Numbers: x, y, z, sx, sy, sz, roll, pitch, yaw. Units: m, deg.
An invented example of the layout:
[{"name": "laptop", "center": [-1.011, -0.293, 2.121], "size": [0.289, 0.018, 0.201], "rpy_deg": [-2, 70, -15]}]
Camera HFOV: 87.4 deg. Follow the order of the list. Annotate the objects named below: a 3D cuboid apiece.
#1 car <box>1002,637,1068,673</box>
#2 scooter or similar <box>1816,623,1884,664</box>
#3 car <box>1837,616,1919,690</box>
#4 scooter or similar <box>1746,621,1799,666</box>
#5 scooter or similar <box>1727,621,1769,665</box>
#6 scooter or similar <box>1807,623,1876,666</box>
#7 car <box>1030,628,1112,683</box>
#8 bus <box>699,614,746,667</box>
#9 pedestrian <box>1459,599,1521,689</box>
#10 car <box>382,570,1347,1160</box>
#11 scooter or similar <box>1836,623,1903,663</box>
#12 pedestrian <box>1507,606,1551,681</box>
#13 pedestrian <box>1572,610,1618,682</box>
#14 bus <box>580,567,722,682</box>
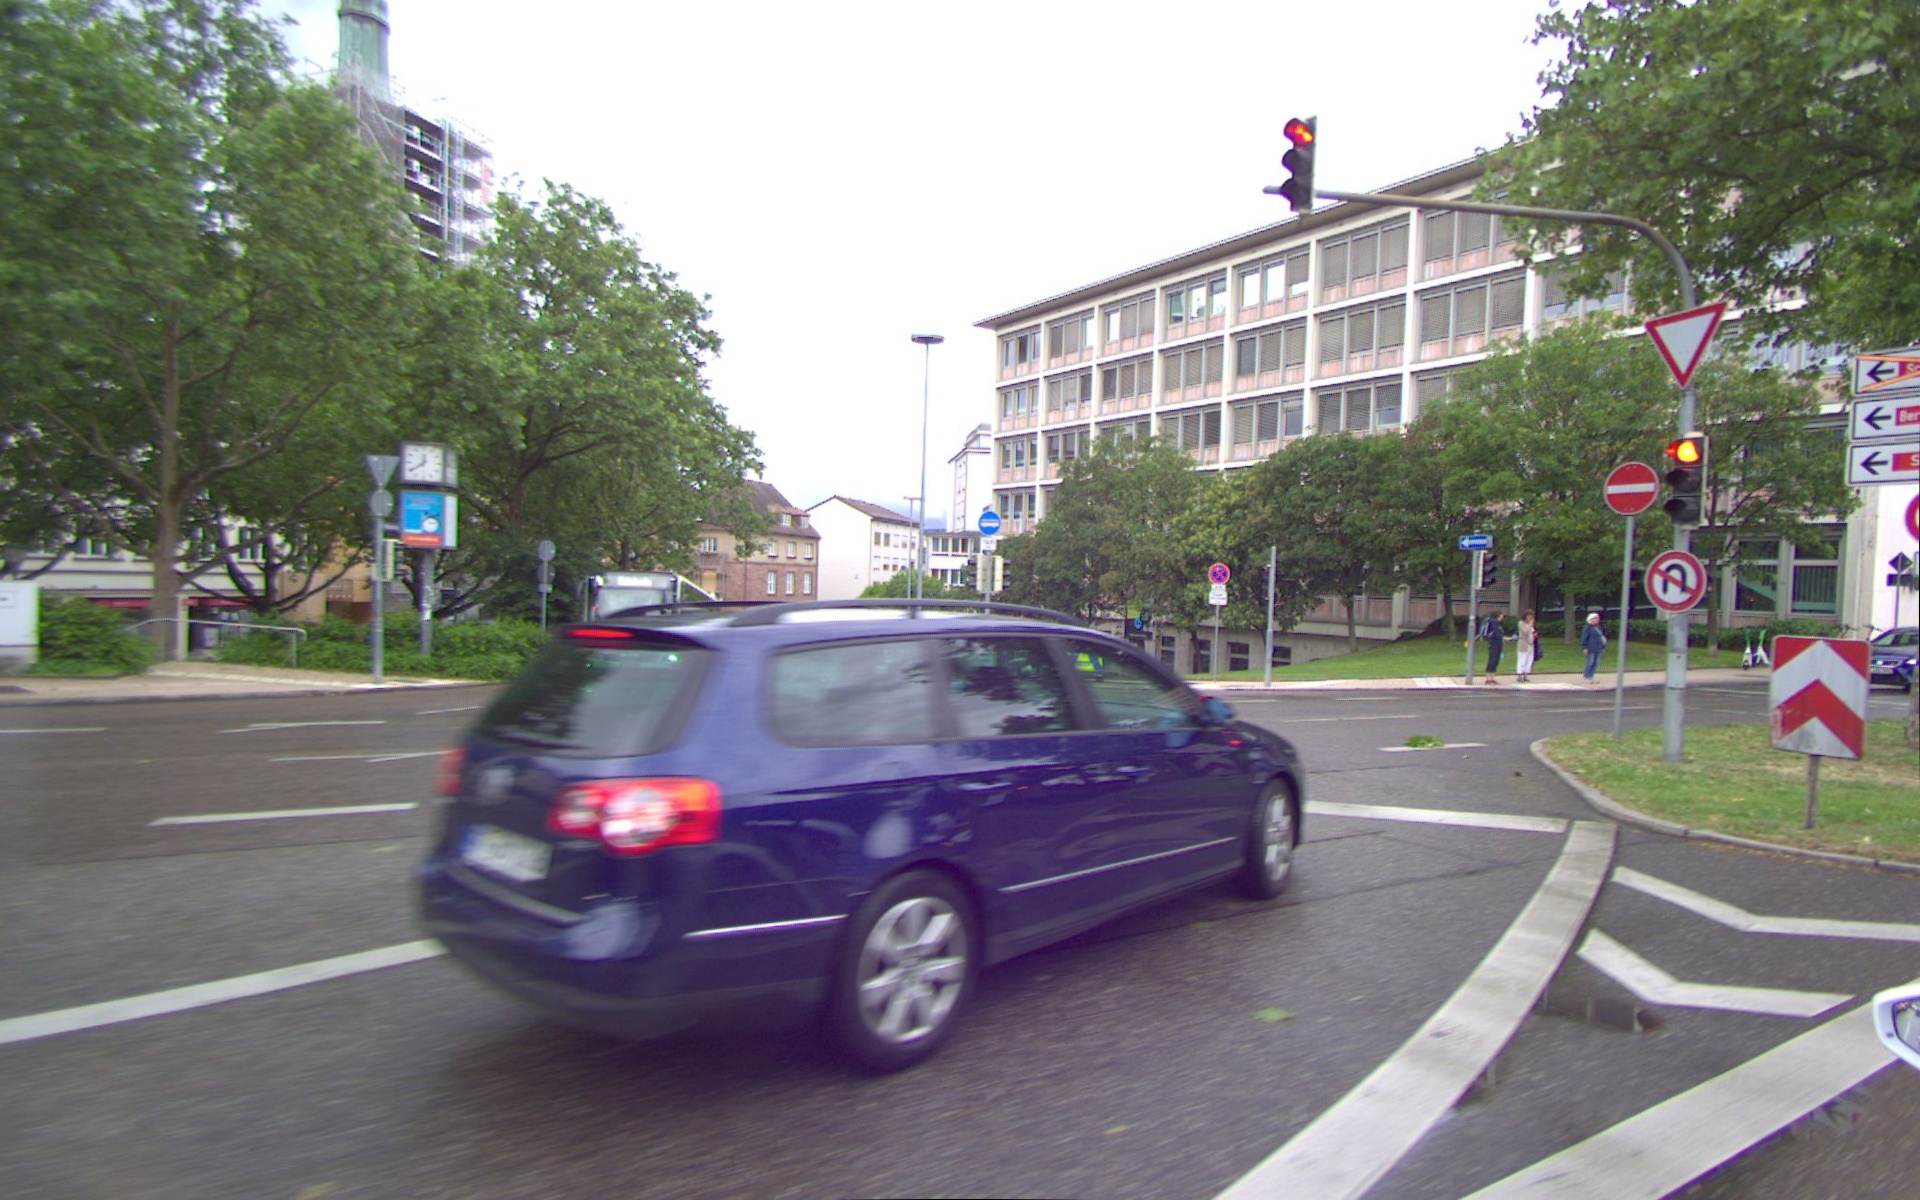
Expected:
[{"name": "car", "center": [3.357, 2.465, 45.940], "size": [1.964, 1.438, 4.581], "rpy_deg": [1, -1, -10]}, {"name": "scooter or similar", "center": [27.462, 1.335, 31.009], "size": [1.497, 1.208, 0.609], "rpy_deg": [1, 0, 3]}, {"name": "car", "center": [22.002, 1.178, 22.949], "size": [4.057, 1.528, 1.831], "rpy_deg": [1, 1, -32]}, {"name": "scooter or similar", "center": [22.976, 1.225, 28.402], "size": [1.554, 1.208, 0.567], "rpy_deg": [1, 0, -28]}, {"name": "scooter or similar", "center": [21.620, 1.176, 27.559], "size": [1.487, 1.183, 0.485], "rpy_deg": [1, 0, -35]}, {"name": "scooter or similar", "center": [26.454, 1.332, 30.154], "size": [1.497, 1.208, 0.609], "rpy_deg": [1, 0, 3]}, {"name": "car", "center": [4.265, 2.126, 39.404], "size": [1.964, 1.990, 4.581], "rpy_deg": [1, -2, -10]}, {"name": "bus", "center": [-16.783, 2.755, 71.504], "size": [2.839, 3.237, 11.946], "rpy_deg": [1, 0, -12]}, {"name": "pedestrian", "center": [12.578, 1.027, 23.836], "size": [0.861, 2.073, 0.932], "rpy_deg": [1, 0, -24]}, {"name": "car", "center": [0.037, 0.669, 4.667], "size": [1.795, 1.428, 4.389], "rpy_deg": [1, 0, 43]}, {"name": "scooter or similar", "center": [28.616, 1.356, 31.627], "size": [1.497, 1.180, 0.609], "rpy_deg": [1, 0, 3]}, {"name": "pedestrian", "center": [13.635, 1.030, 24.054], "size": [0.790, 1.733, 0.648], "rpy_deg": [1, 0, -39]}, {"name": "pedestrian", "center": [14.803, 1.063, 23.413], "size": [0.918, 1.624, 0.647], "rpy_deg": [1, 0, -42]}, {"name": "bus", "center": [-9.702, 0.956, 32.978], "size": [2.837, 3.058, 11.957], "rpy_deg": [1, -3, -9]}]
